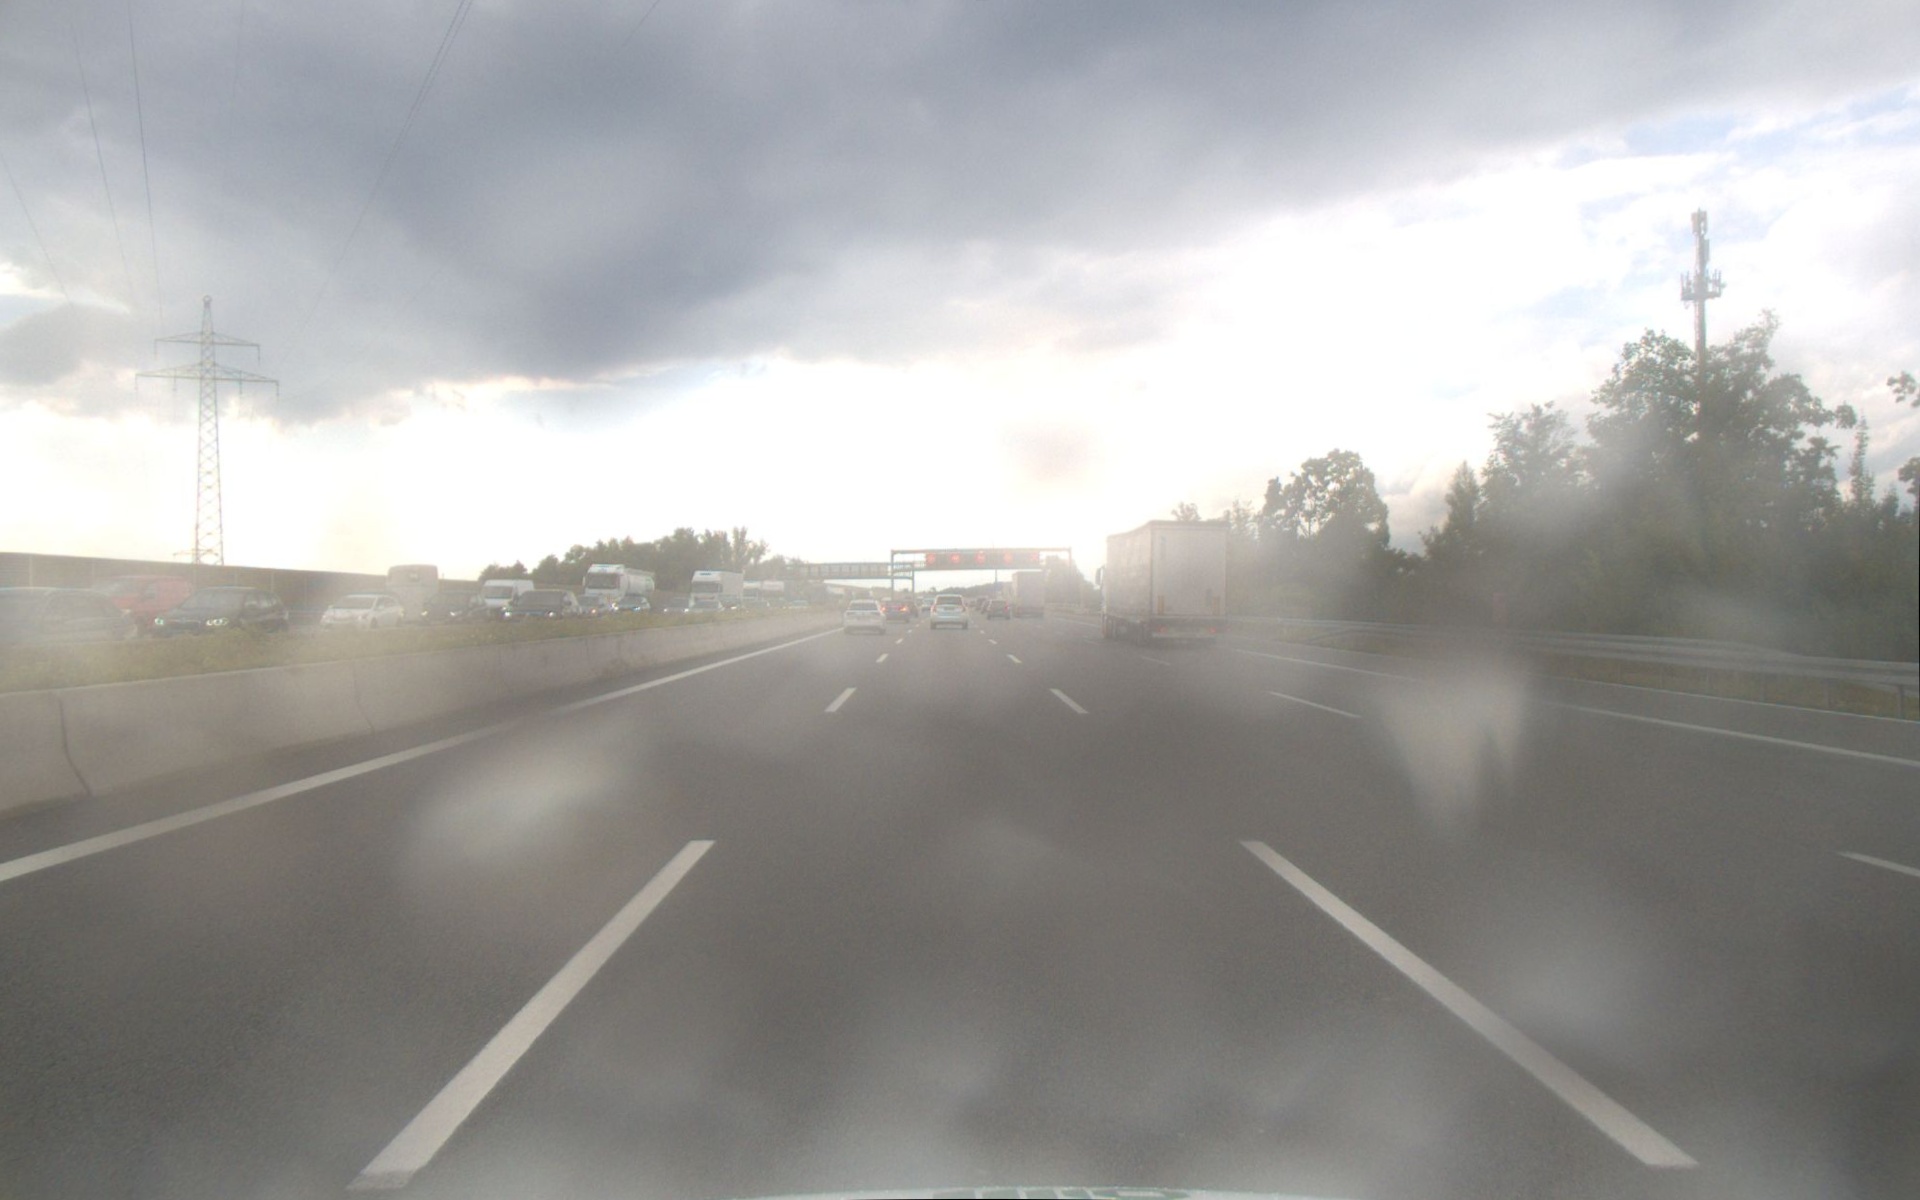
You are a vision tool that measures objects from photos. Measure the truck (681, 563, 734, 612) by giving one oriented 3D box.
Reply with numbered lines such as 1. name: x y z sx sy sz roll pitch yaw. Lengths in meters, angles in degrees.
1. truck: -22.233 -1.076 145.815 3.585 4.118 6.524 1 0 0

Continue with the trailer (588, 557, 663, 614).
1. trailer: -26.877 -1.084 133.506 3.586 4.311 12.465 1 0 -1

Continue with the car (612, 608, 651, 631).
1. car: -21.807 1.271 110.038 1.751 1.495 4.563 1 0 -2

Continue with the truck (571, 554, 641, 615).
1. truck: -26.745 -1.102 125.435 3.586 4.394 8.236 1 0 -1

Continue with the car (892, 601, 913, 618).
1. car: -4.912 0.799 141.656 1.737 1.466 4.054 1 0 -2

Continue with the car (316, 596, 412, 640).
1. car: -21.220 0.626 59.049 1.730 1.479 4.941 1 0 -2

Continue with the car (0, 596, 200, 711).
1. car: -13.111 0.702 24.205 1.730 1.479 5.083 1 0 -2

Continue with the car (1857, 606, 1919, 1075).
1. car: 3.749 0.763 3.970 1.417 1.466 3.163 1 0 -2

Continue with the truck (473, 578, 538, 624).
1. truck: -26.079 0.069 95.073 2.059 2.494 6.262 1 0 -1

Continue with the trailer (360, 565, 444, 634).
1. trailer: -25.338 -0.016 75.270 2.202 3.014 4.899 1 0 -2

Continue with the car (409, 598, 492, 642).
1. car: -18.150 0.694 59.106 1.730 1.480 4.232 1 0 -2

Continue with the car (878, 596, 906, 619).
1. car: -4.370 0.456 106.523 1.736 1.466 4.054 1 0 -2

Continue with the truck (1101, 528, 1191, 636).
1. truck: 7.336 -0.683 66.182 2.900 4.090 6.589 1 0 1

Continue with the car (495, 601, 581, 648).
1. car: -14.397 0.811 56.673 1.790 1.479 4.941 1 0 -2

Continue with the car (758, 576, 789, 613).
1. car: -22.095 -0.637 196.065 2.922 4.222 6.041 1 0 -1

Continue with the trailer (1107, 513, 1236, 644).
1. trailer: 7.281 -0.702 59.038 2.900 4.090 14.119 1 0 1

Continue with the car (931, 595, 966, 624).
1. car: -0.620 0.467 85.643 1.736 1.466 4.054 1 0 -2

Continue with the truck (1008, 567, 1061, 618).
1. truck: 6.726 -0.655 152.228 4.095 4.363 12.610 1 0 -1

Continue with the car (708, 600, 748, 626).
1. car: -18.642 1.055 133.241 2.233 2.002 6.087 1 0 1

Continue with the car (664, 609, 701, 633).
1. car: -18.256 1.364 109.115 1.751 1.480 4.563 1 0 -2

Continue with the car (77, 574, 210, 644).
1. car: -25.036 0.268 50.907 1.730 2.002 4.941 1 0 -2

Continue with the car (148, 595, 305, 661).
1. car: -17.763 0.649 40.318 1.730 1.479 4.941 1 0 -2

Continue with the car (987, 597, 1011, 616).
1. car: 3.071 0.500 131.172 1.798 1.466 4.055 1 0 0

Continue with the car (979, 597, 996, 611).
1. car: 3.088 0.451 185.823 1.798 1.466 4.055 1 0 0

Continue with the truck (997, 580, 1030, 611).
1. truck: 7.425 -0.585 231.379 4.157 4.249 11.989 1 0 0

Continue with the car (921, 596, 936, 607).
1. car: -4.055 0.177 213.139 1.736 1.466 4.055 1 0 0

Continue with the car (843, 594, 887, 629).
1. car: -4.079 0.482 71.359 1.736 1.466 3.873 1 0 -1

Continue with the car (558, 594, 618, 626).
1. car: -18.376 0.473 81.936 1.925 1.479 4.941 1 0 -2
